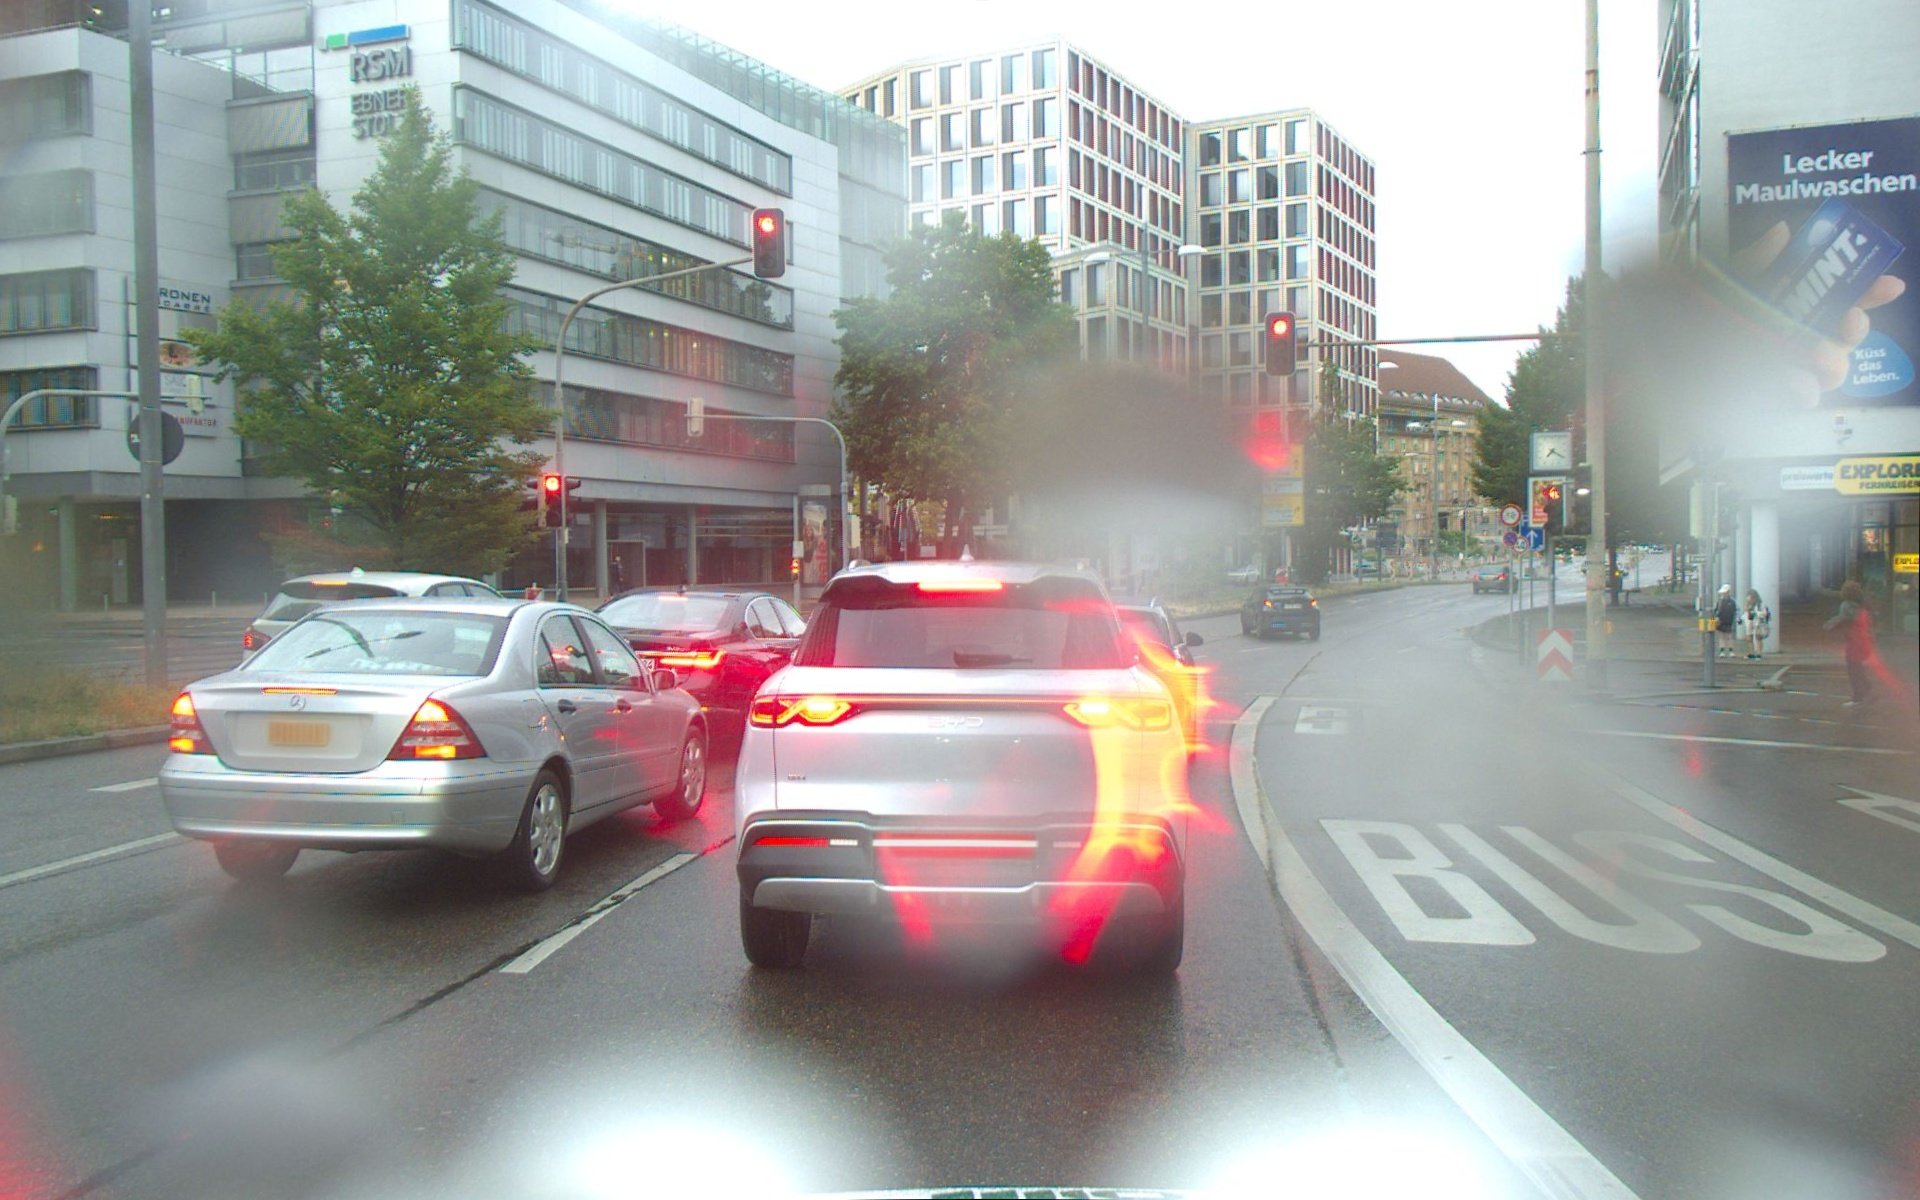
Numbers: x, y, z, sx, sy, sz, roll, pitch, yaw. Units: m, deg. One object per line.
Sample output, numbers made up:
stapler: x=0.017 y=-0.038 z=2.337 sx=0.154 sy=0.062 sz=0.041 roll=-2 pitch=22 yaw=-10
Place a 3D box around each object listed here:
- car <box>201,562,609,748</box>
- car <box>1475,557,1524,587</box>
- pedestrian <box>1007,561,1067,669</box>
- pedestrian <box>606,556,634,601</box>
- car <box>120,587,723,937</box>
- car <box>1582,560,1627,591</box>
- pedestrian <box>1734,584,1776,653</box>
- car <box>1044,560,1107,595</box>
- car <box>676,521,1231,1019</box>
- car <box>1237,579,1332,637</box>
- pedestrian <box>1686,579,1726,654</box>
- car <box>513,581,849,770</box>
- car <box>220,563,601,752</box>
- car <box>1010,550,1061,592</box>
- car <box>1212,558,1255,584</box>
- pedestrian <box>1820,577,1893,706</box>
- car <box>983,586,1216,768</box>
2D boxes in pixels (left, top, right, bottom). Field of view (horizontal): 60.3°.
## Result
car: x=-5.322 y=0.450 z=16.533 sx=1.746 sy=1.601 sz=4.291 roll=0 pitch=1 yaw=16
car: x=28.787 y=-1.494 z=88.170 sx=1.872 sy=1.536 sz=4.353 roll=1 pitch=1 yaw=26
pedestrian: x=1.269 y=0.240 z=27.458 sx=0.904 sy=1.768 sz=0.729 roll=0 pitch=0 yaw=-6
pedestrian: x=-13.382 y=-0.853 z=65.154 sx=0.712 sy=1.757 sz=0.925 roll=0 pitch=0 yaw=21
car: x=-2.690 y=0.690 z=9.386 sx=1.646 sy=1.512 sz=4.200 roll=0 pitch=1 yaw=7
car: x=38.503 y=-1.466 z=98.776 sx=2.007 sy=1.796 sz=4.351 roll=2 pitch=1 yaw=28
pedestrian: x=17.928 y=0.413 z=37.319 sx=0.712 sy=1.551 sz=0.760 roll=0 pitch=-1 yaw=15
car: x=6.233 y=-1.230 z=88.898 sx=1.956 sy=1.735 sz=3.995 roll=1 pitch=2 yaw=28
car: x=0.092 y=0.566 z=8.082 sx=1.952 sy=1.739 sz=4.485 roll=0 pitch=1 yaw=3
car: x=9.463 y=0.191 z=48.521 sx=1.953 sy=1.579 sz=4.000 roll=1 pitch=1 yaw=0
pedestrian: x=17.116 y=0.368 z=37.956 sx=0.712 sy=1.698 sz=0.691 roll=0 pitch=-1 yaw=15
car: x=-2.484 y=0.602 z=15.807 sx=1.913 sy=1.556 sz=4.004 roll=0 pitch=1 yaw=10
car: x=-5.250 y=0.471 z=16.409 sx=1.844 sy=1.624 sz=4.004 roll=0 pitch=1 yaw=11
car: x=4.189 y=-1.577 z=90.943 sx=1.700 sy=2.199 sz=4.496 roll=1 pitch=0 yaw=17
car: x=19.923 y=-2.133 z=120.240 sx=1.955 sy=1.735 sz=4.305 roll=1 pitch=2 yaw=26
pedestrian: x=12.976 y=0.582 z=23.958 sx=0.795 sy=1.830 sz=0.711 roll=0 pitch=0 yaw=15
car: x=1.506 y=0.643 z=16.353 sx=1.913 sy=1.556 sz=4.004 roll=0 pitch=1 yaw=10
